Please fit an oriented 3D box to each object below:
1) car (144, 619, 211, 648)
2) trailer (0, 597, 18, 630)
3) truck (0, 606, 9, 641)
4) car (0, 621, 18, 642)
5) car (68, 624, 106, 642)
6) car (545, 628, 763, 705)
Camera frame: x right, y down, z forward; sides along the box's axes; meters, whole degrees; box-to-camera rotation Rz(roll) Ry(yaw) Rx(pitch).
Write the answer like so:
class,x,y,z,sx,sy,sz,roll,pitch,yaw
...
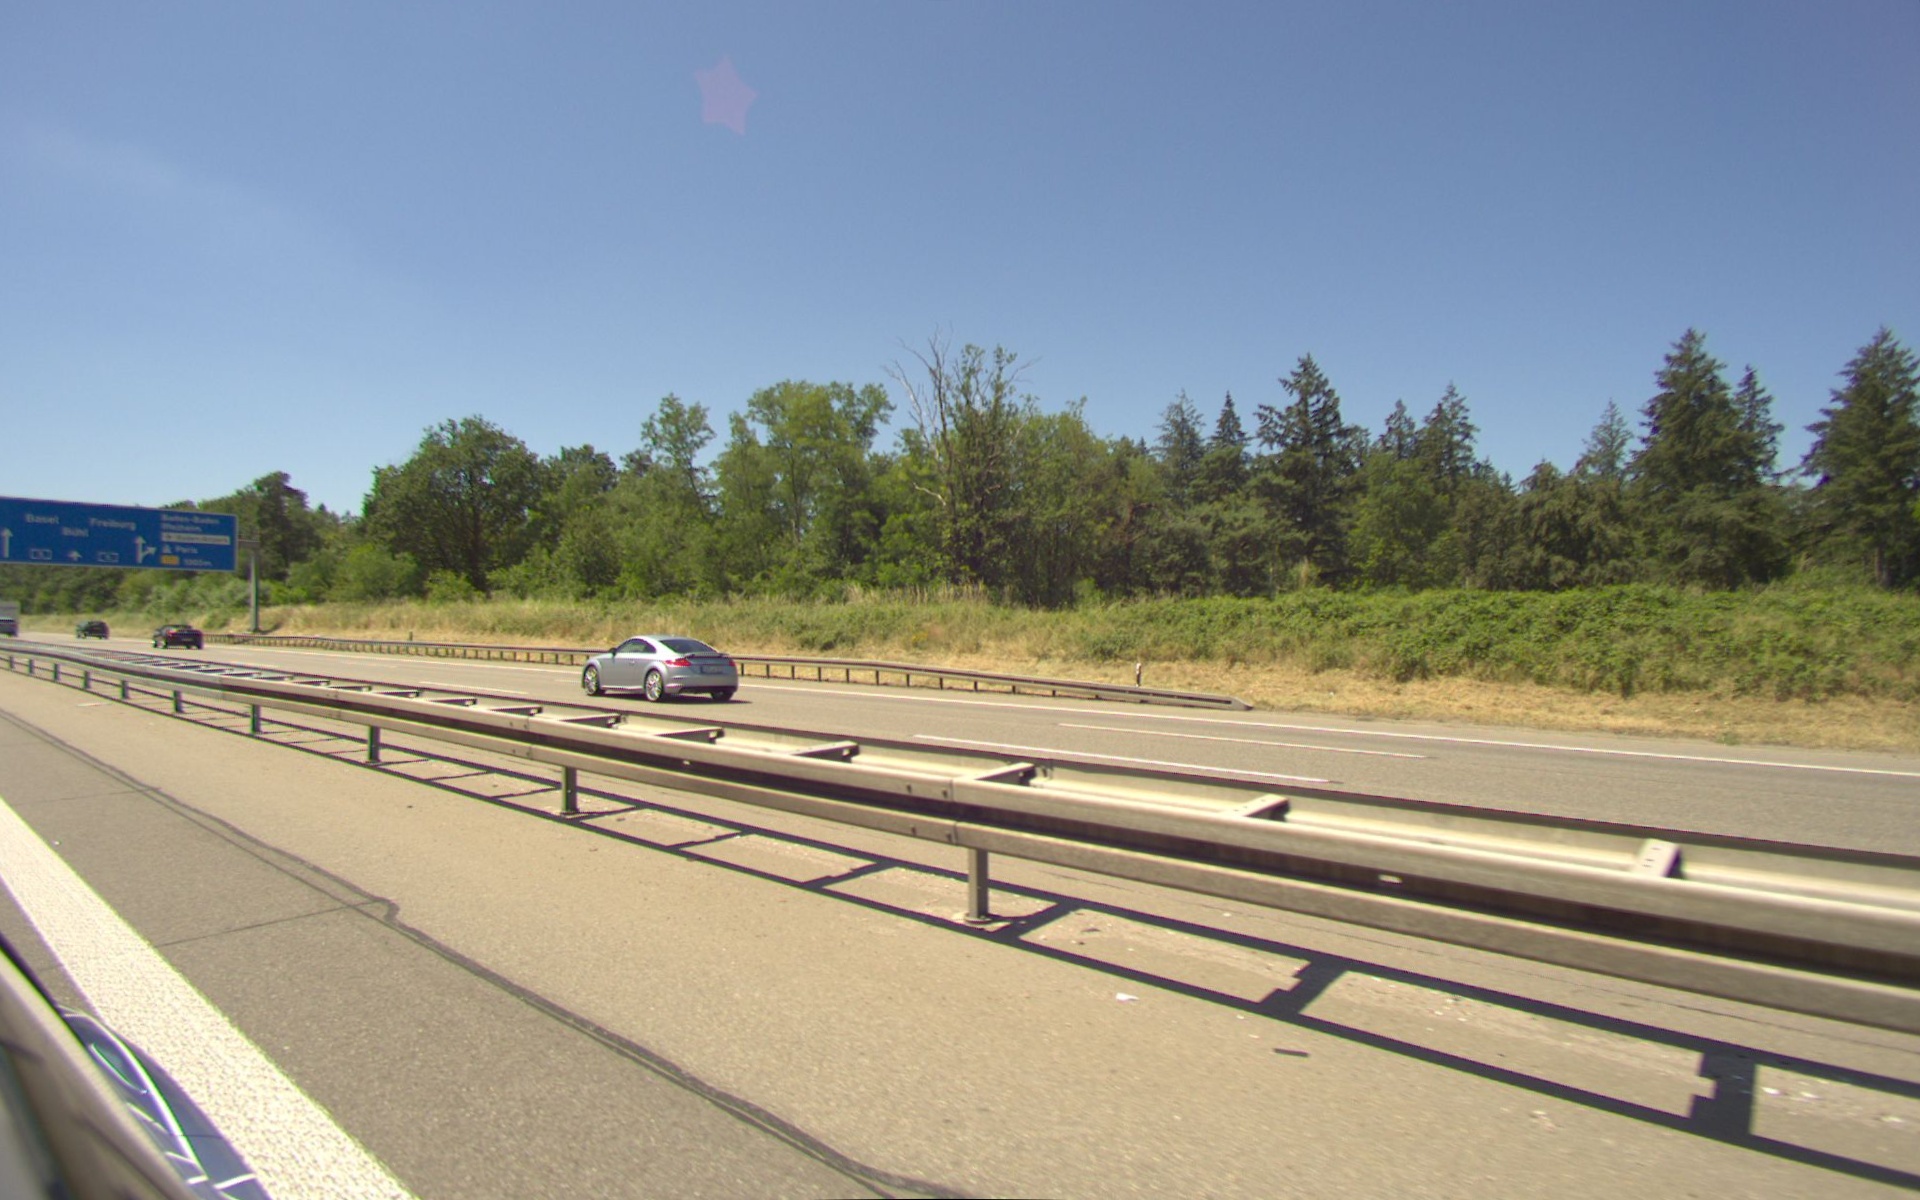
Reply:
class,x,y,z,sx,sy,sz,roll,pitch,yaw
car,-44.909,1.902,58.047,5.287,1.537,1.941,-1,-3,41
trailer,-125.698,1.783,132.158,8.631,4.315,3.026,-1,-3,41
truck,-133.180,3.218,138.699,10.454,4.593,3.026,-1,-3,41
car,-83.939,2.714,88.334,5.287,1.731,1.941,-1,-3,41
car,-77.381,2.902,89.680,4.947,1.566,1.812,-1,-3,41
car,-6.703,1.355,21.803,5.287,1.440,1.941,-1,-3,41
